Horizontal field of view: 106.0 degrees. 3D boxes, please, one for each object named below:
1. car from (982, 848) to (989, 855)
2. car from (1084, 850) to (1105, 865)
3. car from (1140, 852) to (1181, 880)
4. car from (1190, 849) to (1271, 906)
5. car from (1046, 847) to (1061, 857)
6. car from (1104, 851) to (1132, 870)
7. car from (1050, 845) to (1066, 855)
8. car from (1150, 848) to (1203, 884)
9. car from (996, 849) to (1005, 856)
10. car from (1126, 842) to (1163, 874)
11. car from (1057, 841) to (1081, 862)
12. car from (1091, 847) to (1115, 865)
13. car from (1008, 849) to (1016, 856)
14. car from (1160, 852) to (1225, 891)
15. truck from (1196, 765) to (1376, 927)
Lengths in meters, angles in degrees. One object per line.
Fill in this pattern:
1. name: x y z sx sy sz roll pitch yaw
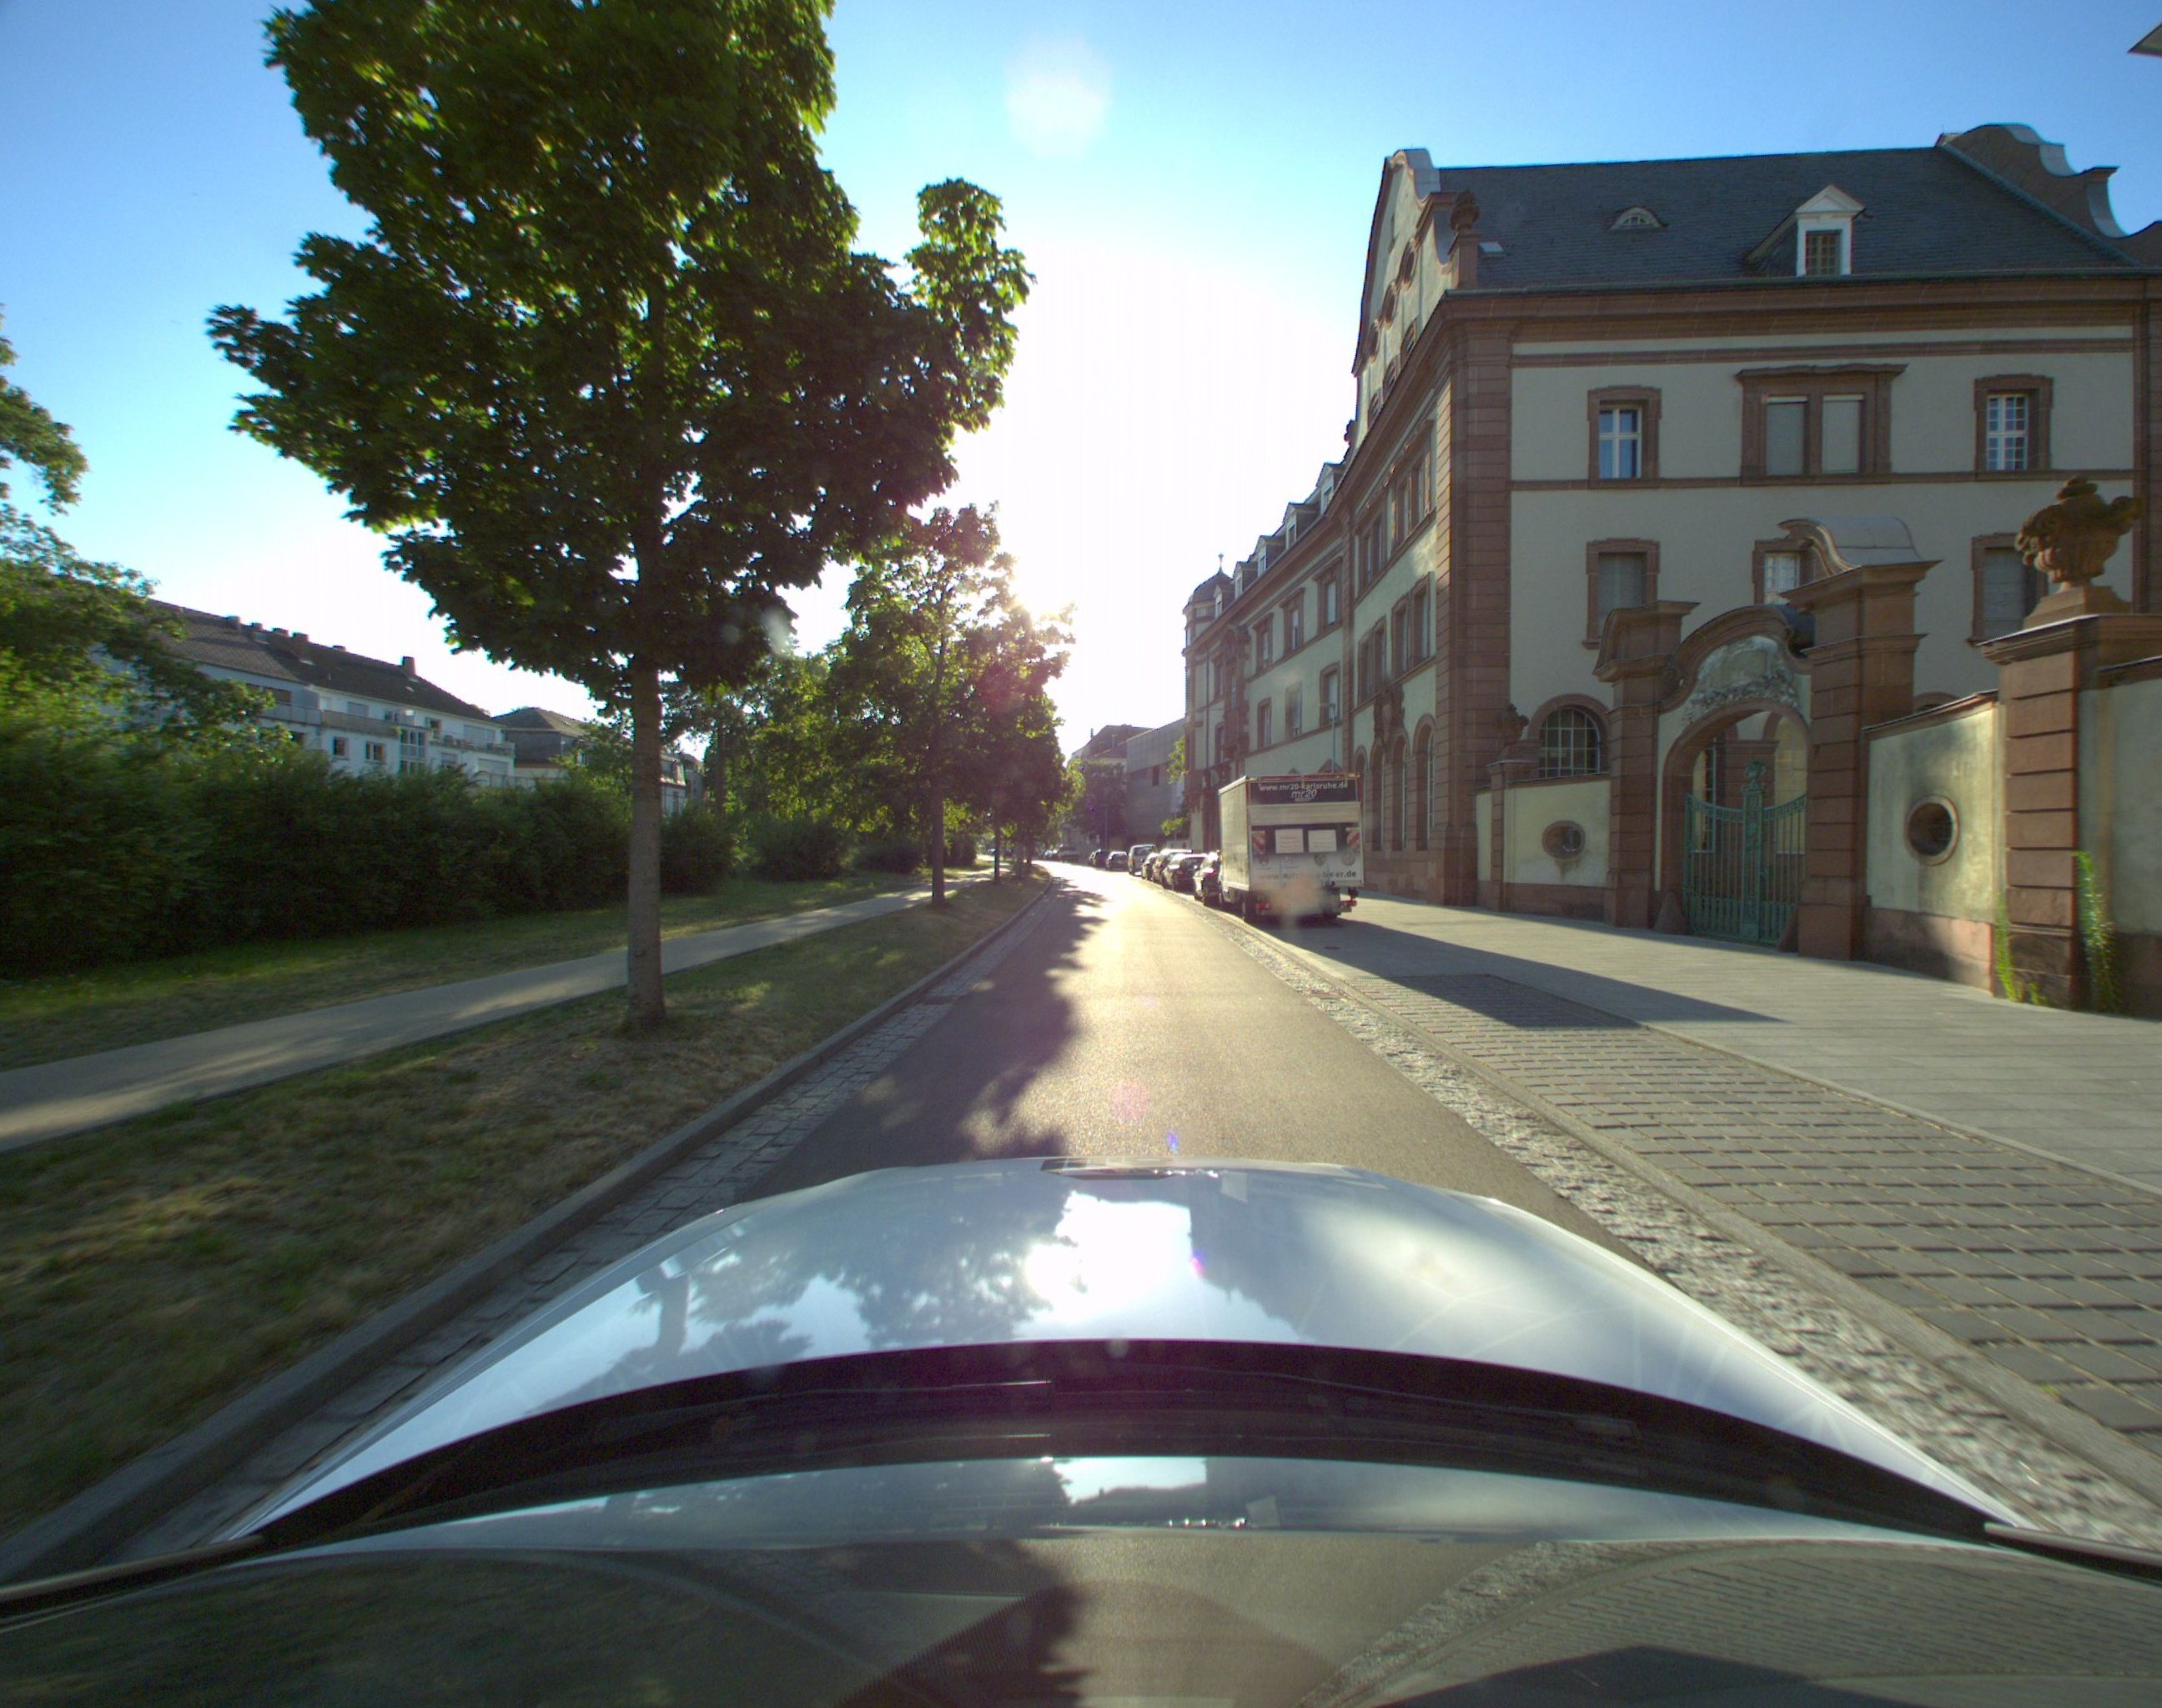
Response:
1. car: -28.776 -0.647 244.772 1.793 1.999 3.987 0 0 -9
2. car: 1.360 0.355 83.444 1.722 1.421 3.899 -1 1 -5
3. car: 4.281 0.598 44.364 1.674 1.403 4.197 -2 0 -1
4. car: 4.463 0.641 24.894 1.761 1.530 4.575 -2 0 2
5. car: -4.128 -0.373 121.802 1.691 1.440 4.089 -1 1 -11
6. car: 2.997 0.481 66.956 1.745 1.466 4.469 1 0 -6
7. car: -3.285 -0.594 117.119 1.691 1.440 3.537 -1 1 -11
8. car: 4.533 0.551 39.235 1.812 1.602 4.188 -1 0 -3
9. car: -19.174 -0.391 193.573 1.793 1.724 3.987 0 0 -9
10. car: 4.230 0.262 55.043 1.988 1.966 4.847 -3 0 -1
11. car: -1.571 -0.320 105.999 2.211 2.530 6.128 -2 1 -9
12. car: 2.046 0.181 77.370 1.723 1.669 4.104 -1 1 -7
13. car: -15.262 -0.348 180.189 1.792 1.510 3.991 0 0 -7
14. car: 4.530 0.651 33.583 1.867 1.436 4.518 -2 0 -2
15. truck: 4.483 -0.177 19.134 2.615 3.120 6.087 -2 0 0
